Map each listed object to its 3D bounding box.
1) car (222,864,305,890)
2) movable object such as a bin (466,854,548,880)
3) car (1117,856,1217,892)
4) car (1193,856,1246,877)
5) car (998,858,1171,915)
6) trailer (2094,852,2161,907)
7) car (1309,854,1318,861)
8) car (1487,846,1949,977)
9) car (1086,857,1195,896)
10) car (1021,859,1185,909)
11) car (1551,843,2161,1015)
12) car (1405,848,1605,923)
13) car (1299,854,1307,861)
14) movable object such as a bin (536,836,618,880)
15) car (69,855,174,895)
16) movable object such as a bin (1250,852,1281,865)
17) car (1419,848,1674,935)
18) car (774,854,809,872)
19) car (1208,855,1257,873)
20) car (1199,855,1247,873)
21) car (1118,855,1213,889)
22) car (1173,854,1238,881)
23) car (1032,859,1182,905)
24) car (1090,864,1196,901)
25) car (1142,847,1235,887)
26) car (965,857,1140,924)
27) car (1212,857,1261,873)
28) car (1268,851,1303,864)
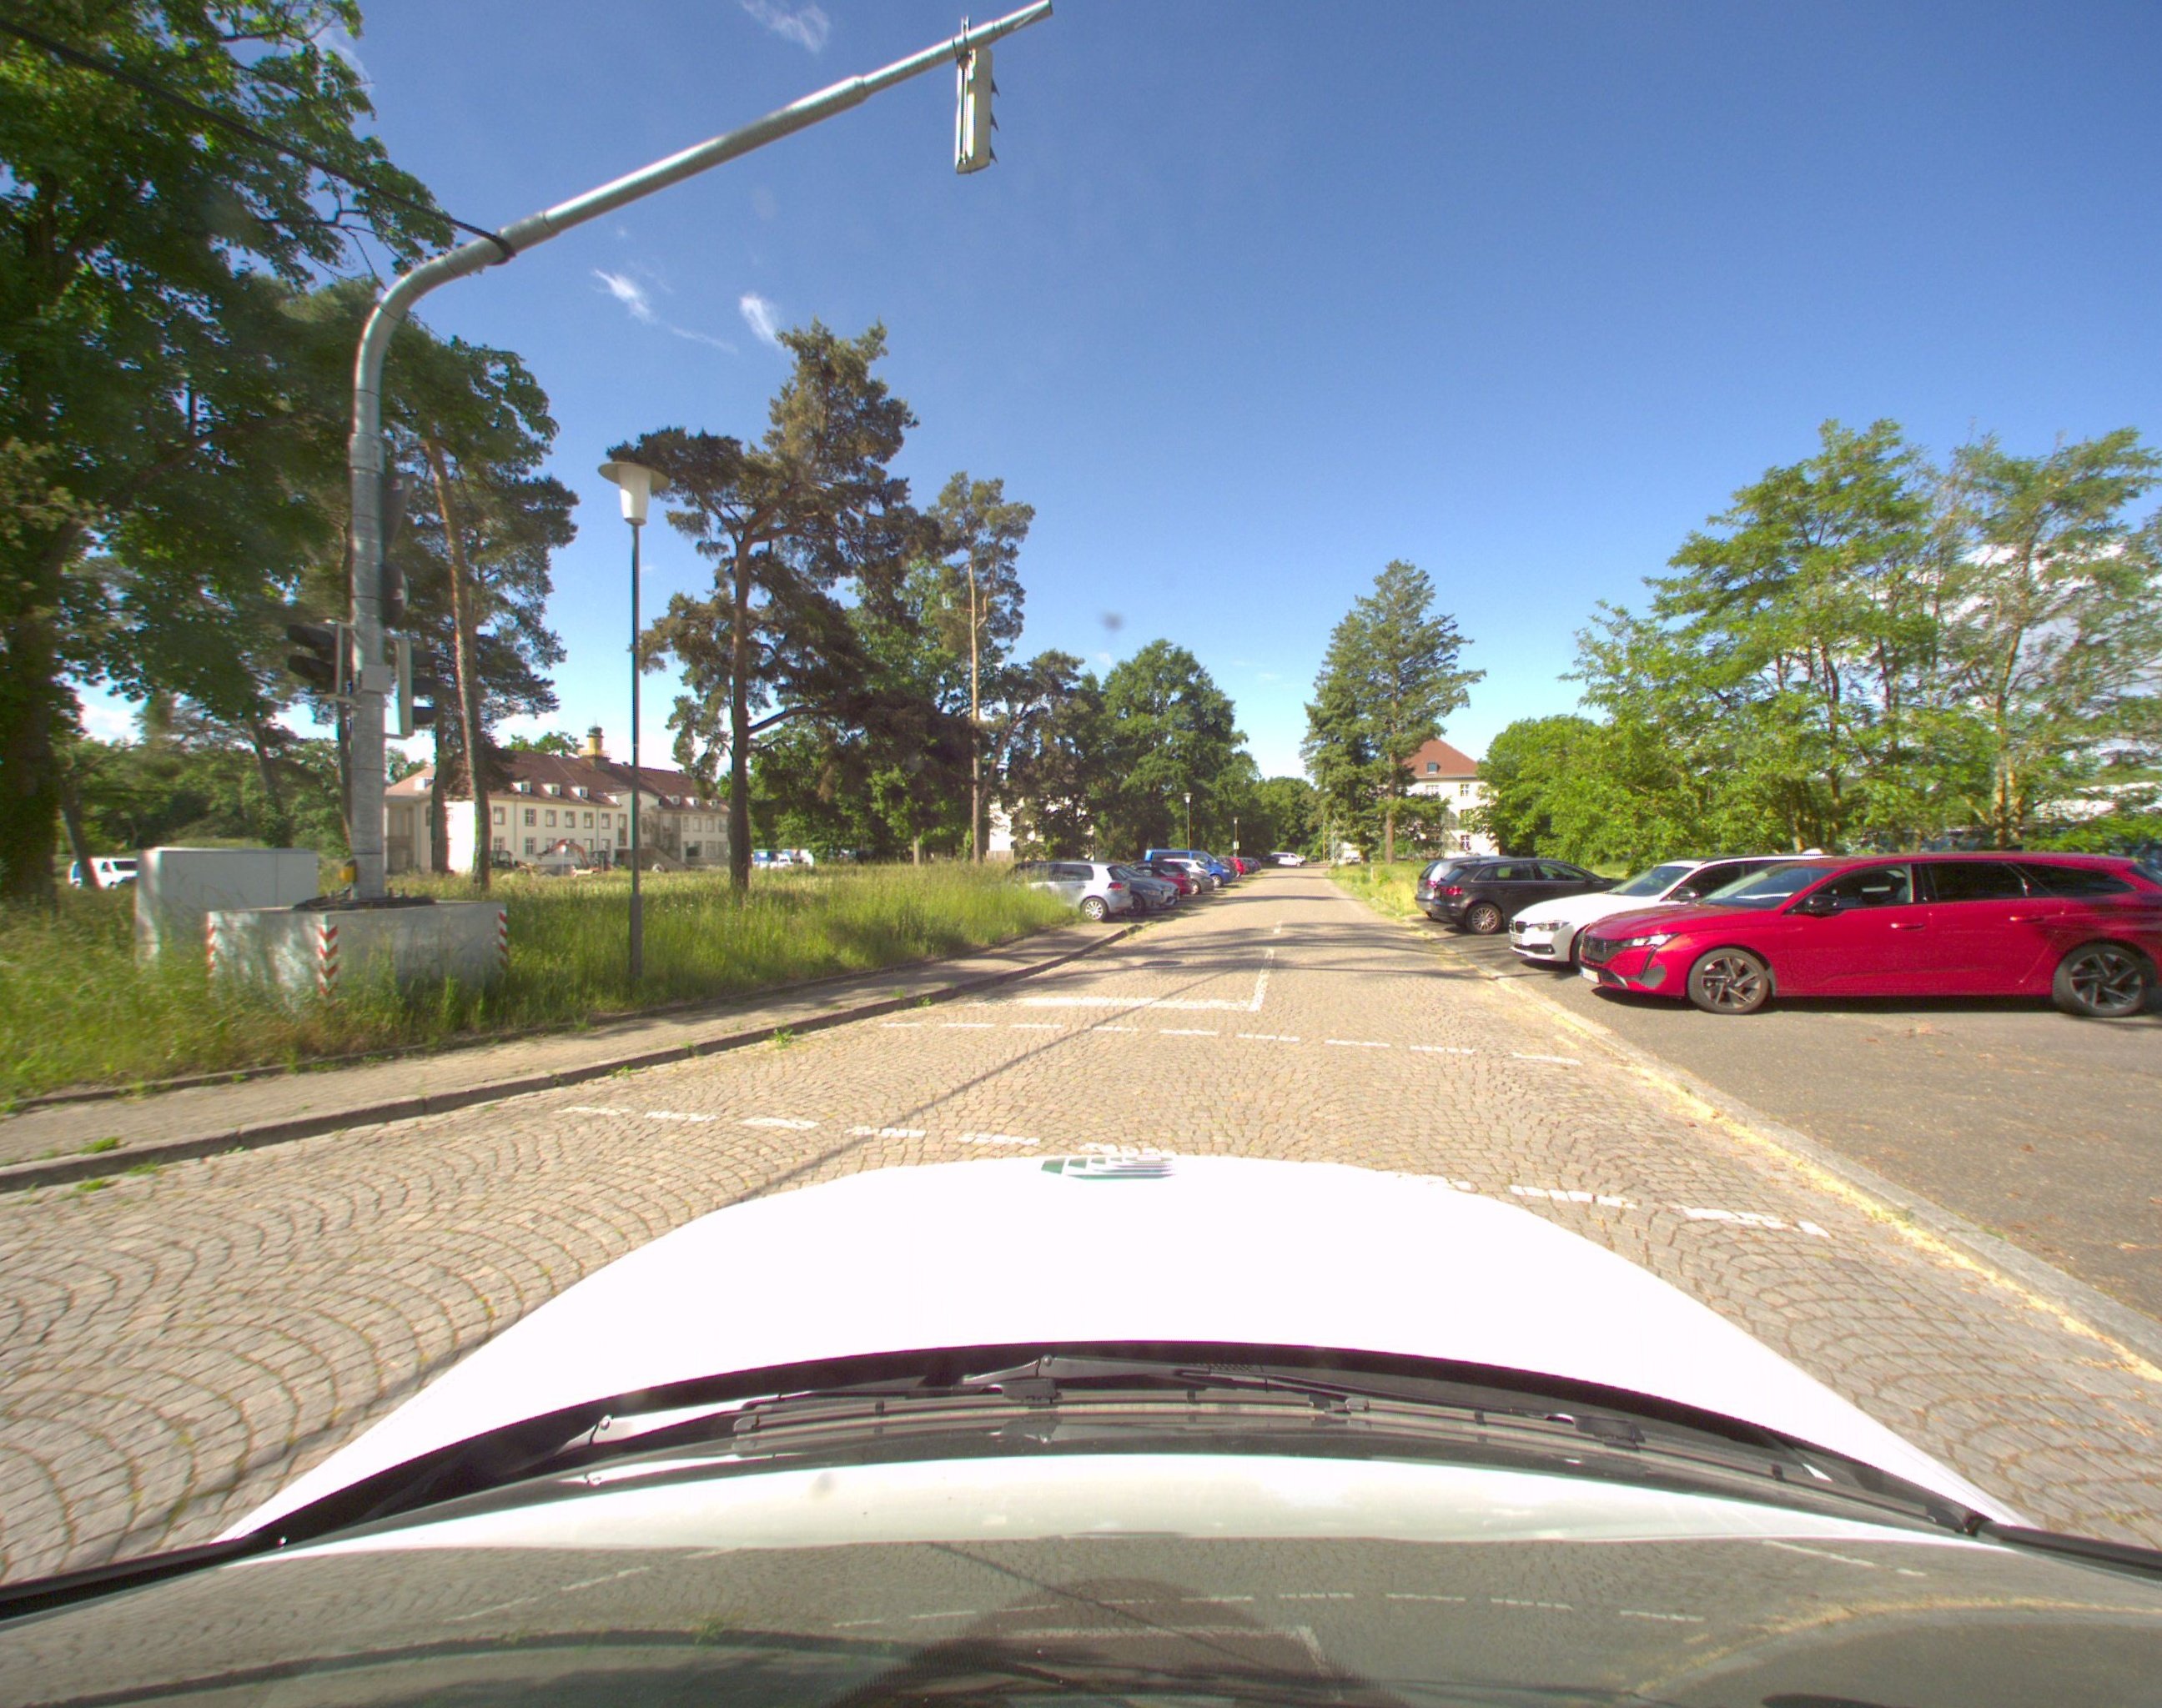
[{"bbox_3d":[-52.074,1.469,51.871,4.197,1.605,1.920,-1,-1,16],"label":"car"},{"bbox_3d":[-50.815,1.113,72.268,5.696,2.125,2.504,-1,-1,-30],"label":"movable object such as a bin"},{"bbox_3d":[3.779,0.844,35.499,4.046,1.425,1.931,1,0,16],"label":"car"},{"bbox_3d":[10.603,0.953,62.194,3.896,1.461,1.849,1,1,13],"label":"car"},{"bbox_3d":[0.162,0.866,23.027,4.551,1.452,1.991,1,0,11],"label":"car"},{"bbox_3d":[22.692,0.521,16.653,2.383,1.105,1.039,1,0,11],"label":"trailer"},{"bbox_3d":[53.150,0.760,186.153,1.956,1.668,4.102,-1,0,14],"label":"car"},{"bbox_3d":[8.152,0.748,10.915,4.482,1.465,1.845,-3,-1,12],"label":"car"},{"bbox_3d":[2.413,0.888,32.860,4.046,1.452,1.829,1,-1,16],"label":"car"},{"bbox_3d":[0.732,0.909,25.698,4.829,1.421,1.946,1,-1,15],"label":"car"},{"bbox_3d":[7.537,0.717,8.157,4.504,1.421,1.901,-3,-1,13],"label":"car"},{"bbox_3d":[9.636,0.717,18.802,3.714,1.476,1.758,-3,-1,13],"label":"car"},{"bbox_3d":[50.762,0.841,186.462,1.799,1.579,4.151,-1,0,14],"label":"car"},{"bbox_3d":[-45.186,0.403,73.348,3.917,3.731,6.770,-1,0,-9],"label":"movable object such as a bin"},{"bbox_3d":[-53.556,1.169,45.479,4.809,2.164,1.965,-1,-1,16],"label":"car"},{"bbox_3d":[25.173,0.615,111.051,3.531,1.745,2.038,-1,-1,33],"label":"movable object such as a bin"},{"bbox_3d":[9.002,0.712,16.120,3.976,1.441,1.851,-3,-1,13],"label":"car"},{"bbox_3d":[-40.544,1.215,114.232,1.969,2.437,5.299,-1,0,16],"label":"car"},{"bbox_3d":[13.412,0.852,72.128,4.105,1.579,1.892,0,0,15],"label":"car"},{"bbox_3d":[12.230,0.826,69.949,3.893,1.433,1.850,0,0,16],"label":"car"},{"bbox_3d":[4.008,0.837,38.429,4.166,1.475,1.831,1,0,14],"label":"car"},{"bbox_3d":[7.996,0.860,52.156,3.926,1.567,1.981,1,1,13],"label":"car"},{"bbox_3d":[0.922,0.911,28.079,4.829,1.421,1.946,1,0,15],"label":"car"},{"bbox_3d":[2.306,1.029,30.117,3.603,1.234,1.767,1,-1,16],"label":"car"},{"bbox_3d":[5.748,0.687,43.448,4.683,1.968,2.013,1,0,14],"label":"car"},{"bbox_3d":[-0.671,0.855,20.525,3.999,1.483,1.956,1,1,13],"label":"car"},{"bbox_3d":[14.675,1.023,76.657,4.325,1.445,1.929,0,0,17],"label":"car"},{"bbox_3d":[30.926,0.555,123.142,5.197,2.016,1.958,0,0,14],"label":"car"}]
